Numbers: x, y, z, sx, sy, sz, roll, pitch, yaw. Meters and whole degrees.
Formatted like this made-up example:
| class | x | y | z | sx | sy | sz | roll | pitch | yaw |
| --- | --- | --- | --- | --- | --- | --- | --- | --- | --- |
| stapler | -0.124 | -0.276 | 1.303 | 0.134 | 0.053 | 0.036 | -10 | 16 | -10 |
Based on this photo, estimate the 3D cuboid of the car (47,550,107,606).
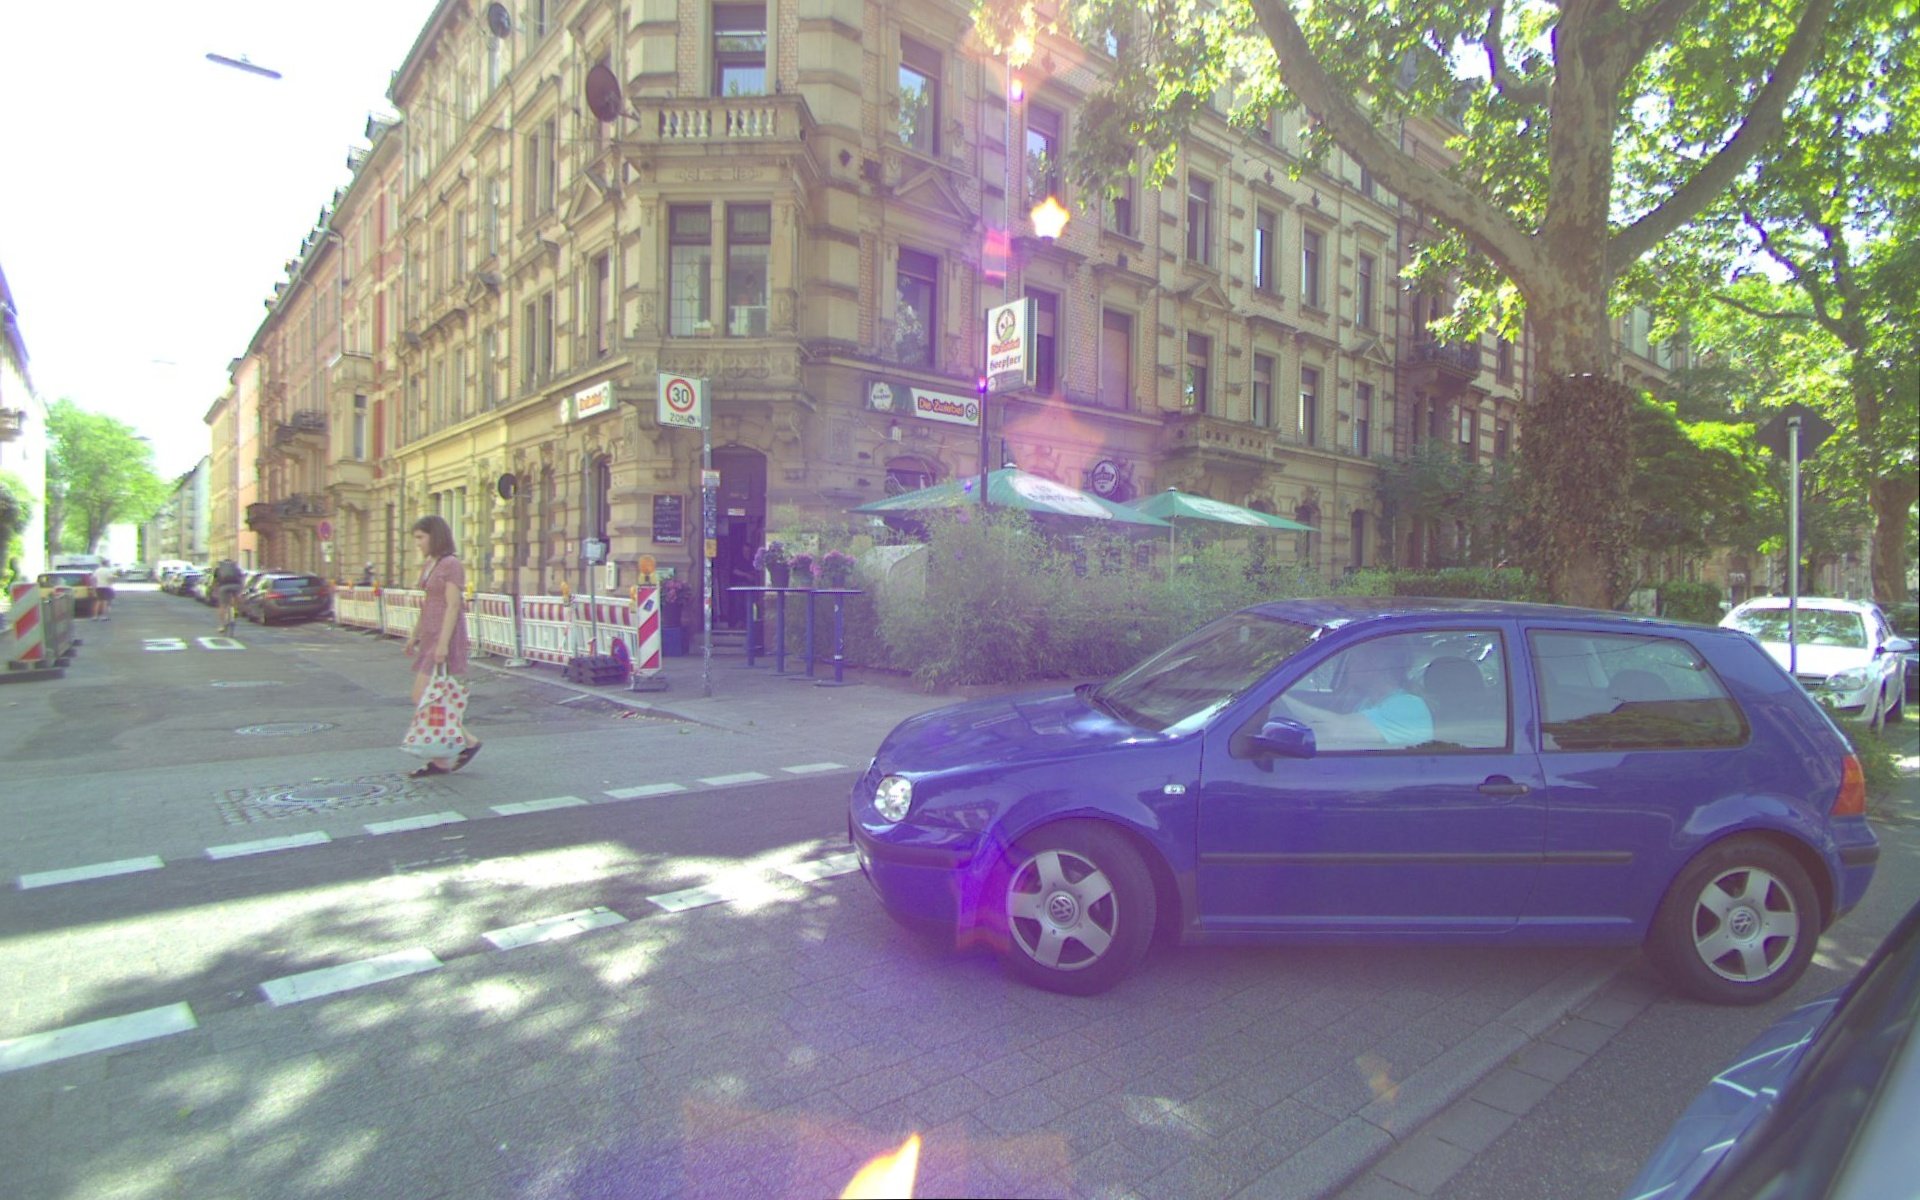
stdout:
| class | x | y | z | sx | sy | sz | roll | pitch | yaw |
| --- | --- | --- | --- | --- | --- | --- | --- | --- | --- |
| car | -40.037 | -0.996 | 45.939 | 1.879 | 2.403 | 4.243 | 0 | 1 | -39 |

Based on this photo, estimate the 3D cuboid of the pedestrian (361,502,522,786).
| class | x | y | z | sx | sy | sz | roll | pitch | yaw |
| --- | --- | --- | --- | --- | --- | --- | --- | --- | --- |
| pedestrian | -3.586 | 0.272 | 7.000 | 0.837 | 1.807 | 0.737 | 0 | 1 | -41 |

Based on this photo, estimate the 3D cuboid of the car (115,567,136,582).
| class | x | y | z | sx | sy | sz | roll | pitch | yaw |
| --- | --- | --- | --- | --- | --- | --- | --- | --- | --- |
| car | -102.552 | -3.170 | 124.308 | 1.965 | 1.760 | 3.995 | 0 | 1 | -41 |

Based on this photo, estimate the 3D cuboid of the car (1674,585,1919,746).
| class | x | y | z | sx | sy | sz | roll | pitch | yaw |
| --- | --- | --- | --- | --- | --- | --- | --- | --- | --- |
| car | 10.049 | 0.612 | 11.967 | 4.418 | 1.527 | 1.835 | 0 | 2 | -44 |

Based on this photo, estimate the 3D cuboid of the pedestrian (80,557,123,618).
| class | x | y | z | sx | sy | sz | roll | pitch | yaw |
| --- | --- | --- | --- | --- | --- | --- | --- | --- | --- |
| pedestrian | -25.954 | -0.390 | 30.591 | 0.921 | 1.821 | 1.036 | 0 | 1 | -44 |

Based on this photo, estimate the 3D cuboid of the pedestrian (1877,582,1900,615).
| class | x | y | z | sx | sy | sz | roll | pitch | yaw |
| --- | --- | --- | --- | --- | --- | --- | --- | --- | --- |
| pedestrian | 50.018 | -0.080 | 54.526 | 0.951 | 1.740 | 0.796 | 0 | 1 | -41 |

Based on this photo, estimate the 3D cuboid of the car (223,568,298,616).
| class | x | y | z | sx | sy | sz | roll | pitch | yaw |
| --- | --- | --- | --- | --- | --- | --- | --- | --- | --- |
| car | -26.912 | -0.339 | 38.895 | 1.965 | 1.760 | 3.995 | 0 | 1 | -41 |

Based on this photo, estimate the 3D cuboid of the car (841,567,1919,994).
| class | x | y | z | sx | sy | sz | roll | pitch | yaw |
| --- | --- | --- | --- | --- | --- | --- | --- | --- | --- |
| car | 1.538 | 0.607 | 4.454 | 4.012 | 1.427 | 1.890 | 1 | 1 | -4 |

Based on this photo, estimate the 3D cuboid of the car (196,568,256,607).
| class | x | y | z | sx | sy | sz | roll | pitch | yaw |
| --- | --- | --- | --- | --- | --- | --- | --- | --- | --- |
| car | -34.507 | -0.607 | 47.558 | 1.965 | 1.760 | 3.995 | 0 | 1 | -41 |

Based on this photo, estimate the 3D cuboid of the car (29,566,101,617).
| class | x | y | z | sx | sy | sz | roll | pitch | yaw |
| --- | --- | --- | --- | --- | --- | --- | --- | --- | --- |
| car | -29.252 | -0.306 | 33.109 | 1.698 | 1.548 | 3.489 | 0 | 1 | -41 |

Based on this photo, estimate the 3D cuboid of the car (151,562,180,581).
| class | x | y | z | sx | sy | sz | roll | pitch | yaw |
| --- | --- | --- | --- | --- | --- | --- | --- | --- | --- |
| car | -74.251 | -2.681 | 94.528 | 1.965 | 1.760 | 3.995 | 0 | 1 | -41 |

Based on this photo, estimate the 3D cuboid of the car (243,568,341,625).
| class | x | y | z | sx | sy | sz | roll | pitch | yaw |
| --- | --- | --- | --- | --- | --- | --- | --- | --- | --- |
| car | -19.993 | -0.155 | 30.238 | 1.965 | 1.571 | 3.995 | 0 | 1 | -41 |

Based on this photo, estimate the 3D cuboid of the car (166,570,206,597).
| class | x | y | z | sx | sy | sz | roll | pitch | yaw |
| --- | --- | --- | --- | --- | --- | --- | --- | --- | --- |
| car | -52.643 | -1.117 | 68.790 | 1.965 | 1.760 | 3.995 | 0 | 1 | -41 |

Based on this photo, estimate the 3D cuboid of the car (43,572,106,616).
| class | x | y | z | sx | sy | sz | roll | pitch | yaw |
| --- | --- | --- | --- | --- | --- | --- | --- | --- | --- |
| car | -32.800 | -0.259 | 37.491 | 1.698 | 1.548 | 3.489 | 0 | 1 | -42 |

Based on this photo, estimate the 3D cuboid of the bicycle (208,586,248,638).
| class | x | y | z | sx | sy | sz | roll | pitch | yaw |
| --- | --- | --- | --- | --- | --- | --- | --- | --- | --- |
| bicycle | -15.949 | 0.239 | 22.035 | 0.523 | 1.062 | 1.923 | 0 | 1 | -41 |

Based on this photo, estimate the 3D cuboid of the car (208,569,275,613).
| class | x | y | z | sx | sy | sz | roll | pitch | yaw |
| --- | --- | --- | --- | --- | --- | --- | --- | --- | --- |
| car | -30.589 | -0.407 | 43.058 | 1.965 | 1.760 | 3.995 | 0 | 1 | -41 |

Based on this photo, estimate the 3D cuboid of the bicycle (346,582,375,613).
| class | x | y | z | sx | sy | sz | roll | pitch | yaw |
| --- | --- | --- | --- | --- | --- | --- | --- | --- | --- |
| bicycle | -19.827 | -0.077 | 33.473 | 0.530 | 0.991 | 1.306 | 0 | 1 | -44 |

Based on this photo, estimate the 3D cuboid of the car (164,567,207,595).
| class | x | y | z | sx | sy | sz | roll | pitch | yaw |
| --- | --- | --- | --- | --- | --- | --- | --- | --- | --- |
| car | -49.568 | -1.237 | 64.761 | 1.965 | 1.760 | 3.995 | 0 | 1 | -41 |

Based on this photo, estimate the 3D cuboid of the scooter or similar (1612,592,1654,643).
| class | x | y | z | sx | sy | sz | roll | pitch | yaw |
| --- | --- | --- | --- | --- | --- | --- | --- | --- | --- |
| scooter or similar | 17.240 | 0.424 | 25.909 | 1.124 | 1.263 | 0.583 | 0 | 1 | -40 |

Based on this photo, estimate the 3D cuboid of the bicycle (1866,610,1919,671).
| class | x | y | z | sx | sy | sz | roll | pitch | yaw |
| --- | --- | --- | --- | --- | --- | --- | --- | --- | --- |
| bicycle | 18.267 | 0.772 | 19.131 | 1.615 | 1.102 | 0.469 | 1 | 1 | 17 |

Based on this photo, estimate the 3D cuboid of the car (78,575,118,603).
| class | x | y | z | sx | sy | sz | roll | pitch | yaw |
| --- | --- | --- | --- | --- | --- | --- | --- | --- | --- |
| car | -56.394 | -0.720 | 66.258 | 1.879 | 1.731 | 4.158 | 0 | 1 | -39 |

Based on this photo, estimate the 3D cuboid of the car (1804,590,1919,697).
| class | x | y | z | sx | sy | sz | roll | pitch | yaw |
| --- | --- | --- | --- | --- | --- | --- | --- | --- | --- |
| car | 15.418 | 0.630 | 16.449 | 4.561 | 1.527 | 1.837 | 0 | 2 | -40 |

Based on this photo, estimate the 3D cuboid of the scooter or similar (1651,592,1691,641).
| class | x | y | z | sx | sy | sz | roll | pitch | yaw |
| --- | --- | --- | --- | --- | --- | --- | --- | --- | --- |
| scooter or similar | 19.363 | 0.434 | 27.541 | 1.124 | 1.298 | 0.583 | 0 | 1 | -39 |

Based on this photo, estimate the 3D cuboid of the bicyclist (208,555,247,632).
| class | x | y | z | sx | sy | sz | roll | pitch | yaw |
| --- | --- | --- | --- | --- | --- | --- | --- | --- | --- |
| bicyclist | -15.954 | -0.142 | 22.026 | 0.614 | 1.643 | 0.693 | 0 | 1 | -42 |

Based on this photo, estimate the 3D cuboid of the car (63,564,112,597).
| class | x | y | z | sx | sy | sz | roll | pitch | yaw |
| --- | --- | --- | --- | --- | --- | --- | --- | --- | --- |
| car | -47.120 | -1.065 | 54.705 | 1.879 | 1.731 | 4.158 | 0 | 1 | -39 |

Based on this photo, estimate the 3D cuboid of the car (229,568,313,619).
| class | x | y | z | sx | sy | sz | roll | pitch | yaw |
| --- | --- | --- | --- | --- | --- | --- | --- | --- | --- |
| car | -23.910 | -0.276 | 35.068 | 1.965 | 1.660 | 3.995 | 0 | 1 | -41 |

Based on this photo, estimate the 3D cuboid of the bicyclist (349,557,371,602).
| class | x | y | z | sx | sy | sz | roll | pitch | yaw |
| --- | --- | --- | --- | --- | --- | --- | --- | --- | --- |
| bicyclist | -19.864 | -0.665 | 33.515 | 0.524 | 1.471 | 0.460 | 0 | 1 | -44 |
